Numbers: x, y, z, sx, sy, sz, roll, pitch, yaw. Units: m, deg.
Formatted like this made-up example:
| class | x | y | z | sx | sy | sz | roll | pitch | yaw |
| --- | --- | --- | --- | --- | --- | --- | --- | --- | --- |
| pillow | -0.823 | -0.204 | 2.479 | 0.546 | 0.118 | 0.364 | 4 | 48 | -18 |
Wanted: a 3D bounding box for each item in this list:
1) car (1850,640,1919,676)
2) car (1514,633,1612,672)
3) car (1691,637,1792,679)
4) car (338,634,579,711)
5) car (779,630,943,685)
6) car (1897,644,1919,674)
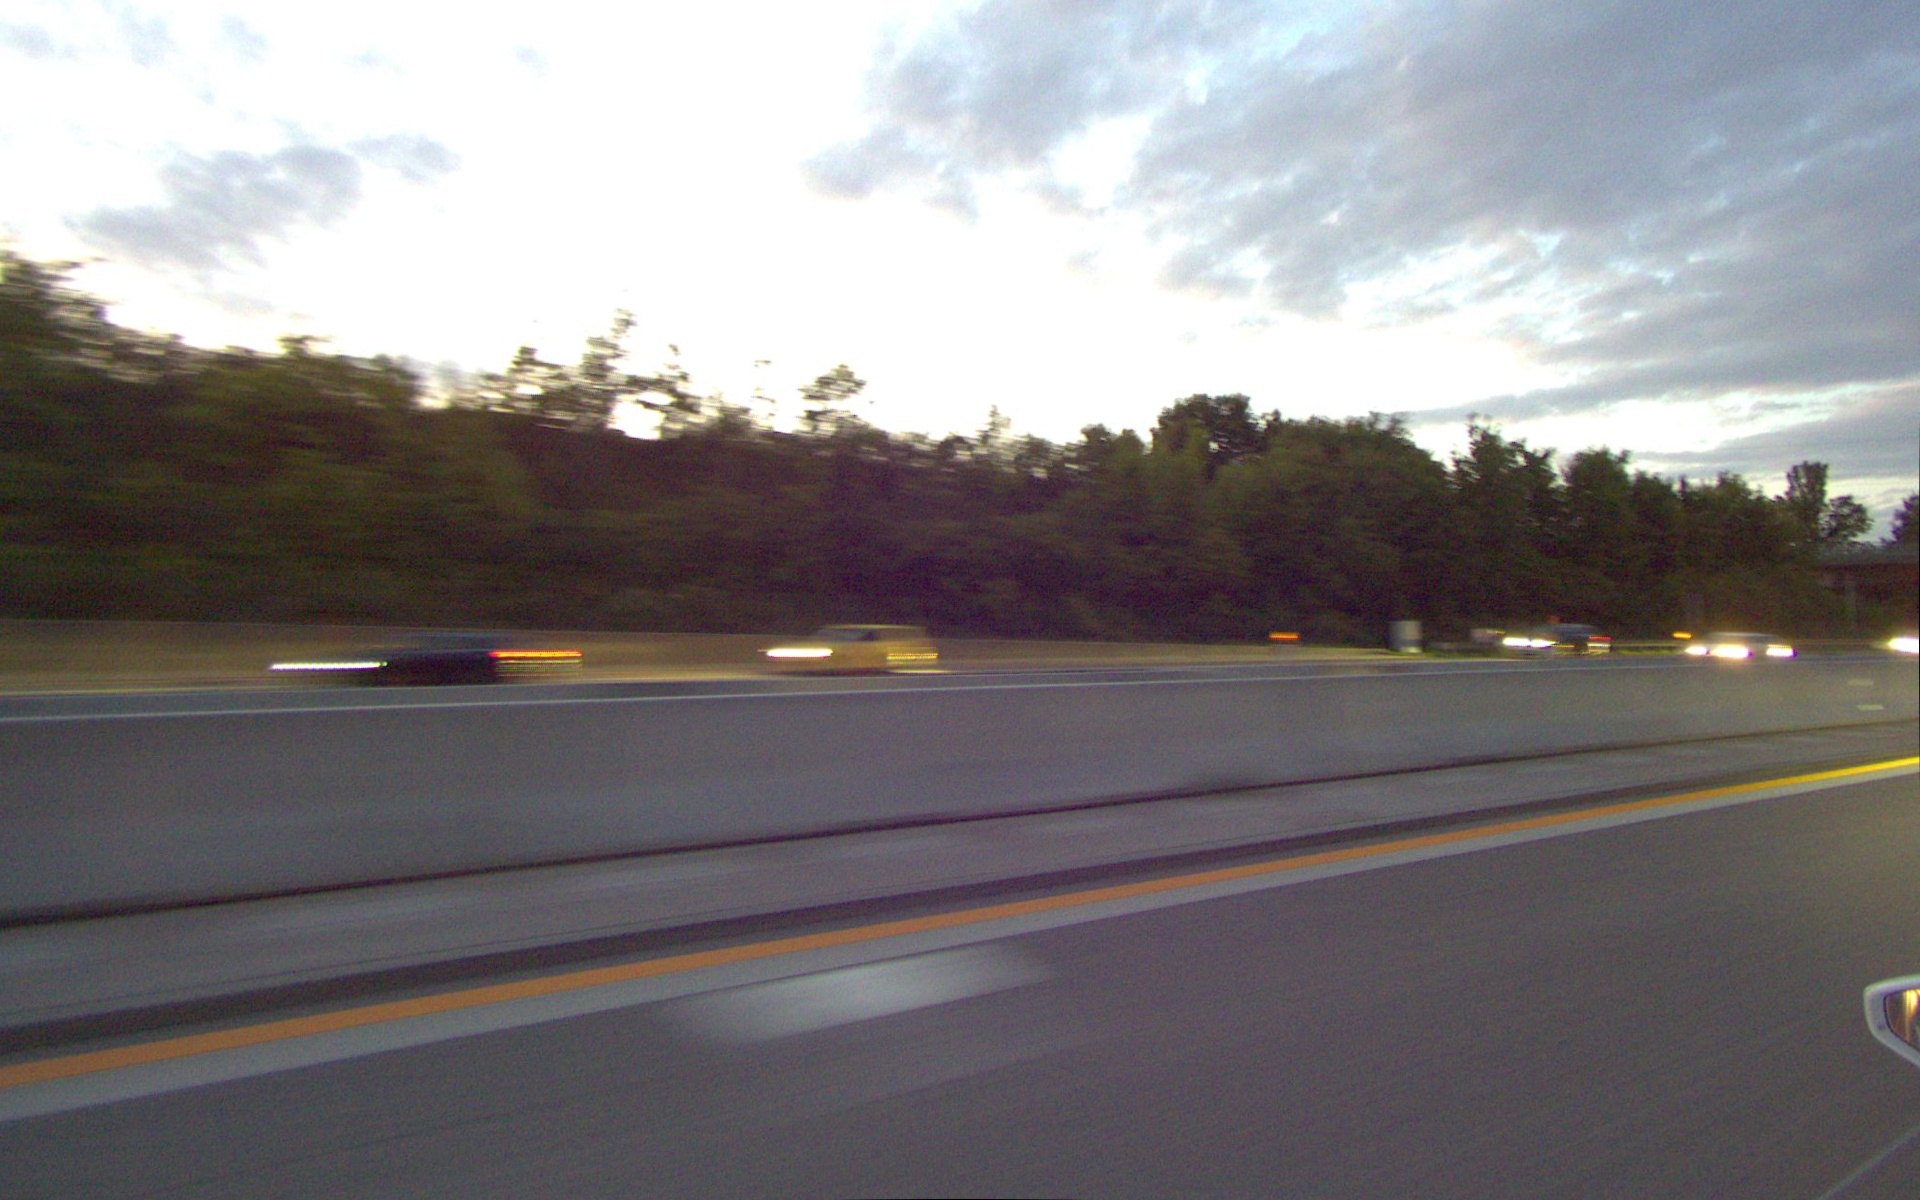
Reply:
| class | x | y | z | sx | sy | sz | roll | pitch | yaw |
| --- | --- | --- | --- | --- | --- | --- | --- | --- | --- |
| car | 47.760 | 2.957 | 51.393 | 4.692 | 1.660 | 1.796 | 2 | 0 | -29 |
| car | 28.375 | 2.459 | 47.215 | 4.692 | 1.660 | 1.796 | 2 | 0 | -29 |
| car | 33.946 | 2.517 | 43.608 | 4.692 | 1.660 | 1.672 | 2 | 0 | -29 |
| car | -11.182 | 1.589 | 22.622 | 4.644 | 1.505 | 1.802 | 2 | 0 | -29 |
| car | -3.014 | 1.760 | 30.830 | 4.644 | 1.505 | 1.817 | 2 | 0 | -29 |
| car | 56.735 | 3.438 | 58.389 | 5.107 | 1.660 | 1.729 | 2 | 0 | -29 |
